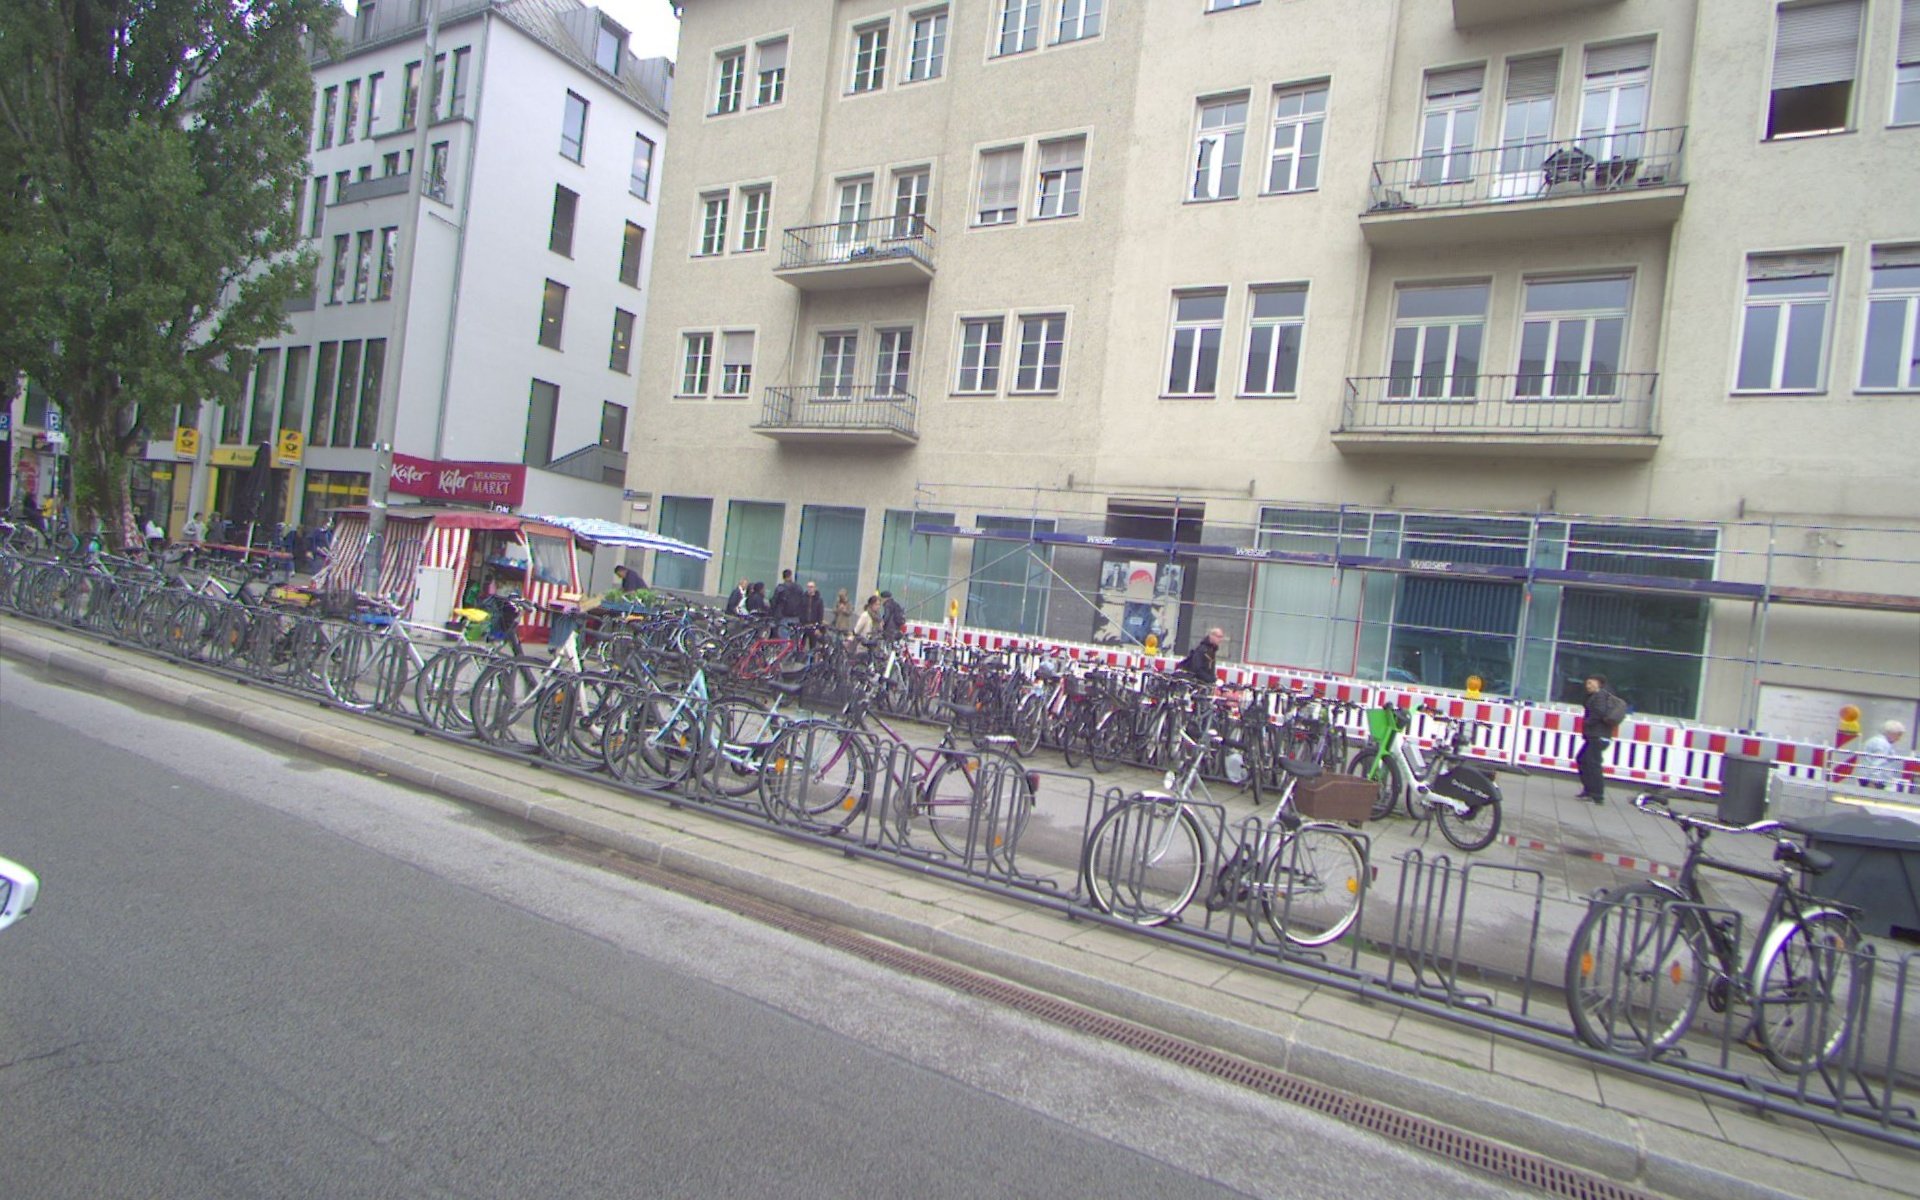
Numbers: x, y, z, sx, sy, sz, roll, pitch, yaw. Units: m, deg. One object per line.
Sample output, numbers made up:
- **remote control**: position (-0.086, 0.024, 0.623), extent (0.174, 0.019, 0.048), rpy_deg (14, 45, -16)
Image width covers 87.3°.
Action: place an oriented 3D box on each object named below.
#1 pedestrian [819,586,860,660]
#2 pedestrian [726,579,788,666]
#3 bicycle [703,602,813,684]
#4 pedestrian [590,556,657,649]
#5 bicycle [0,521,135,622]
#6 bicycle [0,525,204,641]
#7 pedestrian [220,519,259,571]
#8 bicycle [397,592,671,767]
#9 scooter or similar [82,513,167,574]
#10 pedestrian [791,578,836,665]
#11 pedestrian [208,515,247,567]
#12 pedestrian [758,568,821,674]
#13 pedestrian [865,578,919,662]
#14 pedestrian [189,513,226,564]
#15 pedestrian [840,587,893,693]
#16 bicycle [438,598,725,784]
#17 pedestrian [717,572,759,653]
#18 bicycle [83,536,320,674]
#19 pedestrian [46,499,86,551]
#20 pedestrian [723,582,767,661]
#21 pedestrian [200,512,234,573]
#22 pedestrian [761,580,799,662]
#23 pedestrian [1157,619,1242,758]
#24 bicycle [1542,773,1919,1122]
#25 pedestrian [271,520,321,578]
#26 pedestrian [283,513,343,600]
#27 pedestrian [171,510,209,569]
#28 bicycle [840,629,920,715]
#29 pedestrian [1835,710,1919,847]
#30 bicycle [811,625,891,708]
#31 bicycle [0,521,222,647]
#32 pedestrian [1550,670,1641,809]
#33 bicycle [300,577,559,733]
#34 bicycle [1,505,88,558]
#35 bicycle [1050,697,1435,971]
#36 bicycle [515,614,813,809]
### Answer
- **pedestrian**: position (-2.781, 0.534, 23.250), extent (0.598, 1.623, 0.465), rpy_deg (7, 1, 28)
- **pedestrian**: position (-3.835, 0.426, 19.014), extent (0.717, 1.547, 0.677), rpy_deg (7, 1, 32)
- **bicycle**: position (-2.994, 0.666, 15.034), extent (0.404, 1.117, 1.627), rpy_deg (7, 1, 39)
- **pedestrian**: position (-6.517, 0.053, 19.521), extent (0.717, 1.694, 0.794), rpy_deg (7, 1, 30)
- **bicycle**: position (-12.077, -0.405, 13.157), extent (1.779, 1.065, 0.544), rpy_deg (11, -2, -21)
- **bicycle**: position (-10.382, -0.185, 12.190), extent (1.779, 1.065, 0.365), rpy_deg (11, -2, -21)
- **pedestrian**: position (-22.045, -1.675, 30.802), extent (0.640, 1.493, 0.756), rpy_deg (7, -1, -21)
- **bicycle**: position (-3.276, 0.631, 7.871), extent (1.779, 1.070, 0.395), rpy_deg (11, -2, -21)
- **scooter or similar**: position (-19.000, -1.260, 22.902), extent (0.393, 1.222, 1.470), rpy_deg (7, 0, 13)
- **pedestrian**: position (-2.842, 0.409, 19.472), extent (0.546, 1.584, 0.650), rpy_deg (6, 1, -22)
- **pedestrian**: position (-24.186, -1.947, 33.211), extent (0.760, 1.605, 0.691), rpy_deg (7, 1, 31)
- **pedestrian**: position (-3.154, 0.392, 18.626), extent (0.716, 1.851, 0.718), rpy_deg (7, 1, 16)
- **pedestrian**: position (-1.432, 0.418, 21.185), extent (0.752, 1.671, 0.601), rpy_deg (7, 1, 30)
- **pedestrian**: position (-26.262, -2.135, 35.105), extent (0.786, 1.669, 0.691), rpy_deg (7, 1, 36)
- **pedestrian**: position (-1.481, 0.628, 15.996), extent (0.526, 1.602, 0.662), rpy_deg (7, 1, 7)
- **bicycle**: position (-2.772, 0.687, 7.529), extent (1.825, 1.070, 0.396), rpy_deg (11, -2, -14)
- **pedestrian**: position (-4.851, 0.274, 22.005), extent (0.496, 1.693, 0.541), rpy_deg (6, -1, 21)
- **bicycle**: position (-7.990, 0.073, 10.691), extent (1.779, 1.117, 0.544), rpy_deg (11, -2, -21)
- **pedestrian**: position (-31.562, -2.632, 35.518), extent (0.711, 1.746, 0.736), rpy_deg (6, 1, -22)
- **pedestrian**: position (-4.445, 0.453, 20.836), extent (0.458, 1.558, 0.560), rpy_deg (6, -1, 31)
- **pedestrian**: position (-22.035, -1.713, 29.837), extent (0.588, 1.723, 0.579), rpy_deg (7, 1, 39)
- **pedestrian**: position (-3.843, 0.452, 21.462), extent (0.463, 1.692, 0.527), rpy_deg (7, -1, 8)
- **pedestrian**: position (3.194, 1.165, 13.475), extent (0.693, 1.730, 0.738), rpy_deg (7, 1, -10)
- **bicycle**: position (3.281, 1.381, 4.094), extent (1.771, 1.150, 0.487), rpy_deg (8, -1, -21)
- **pedestrian**: position (-20.584, -1.581, 31.195), extent (1.006, 1.657, 0.800), rpy_deg (7, 1, 31)
- **pedestrian**: position (-14.382, -0.958, 22.364), extent (0.563, 1.816, 0.793), rpy_deg (6, -1, 37)
- **pedestrian**: position (-22.325, -1.760, 29.174), extent (0.625, 1.603, 0.641), rpy_deg (7, 1, 39)
- **bicycle**: position (-1.084, 0.976, 13.928), extent (0.403, 1.091, 1.452), rpy_deg (6, 0, 22)
- **pedestrian**: position (11.360, 2.183, 12.455), extent (0.580, 1.560, 0.565), rpy_deg (6, 0, 29)
- **bicycle**: position (-1.539, 0.936, 14.376), extent (0.403, 1.091, 1.452), rpy_deg (6, 0, 22)
- **bicycle**: position (-9.872, -0.164, 11.763), extent (1.779, 1.117, 0.544), rpy_deg (11, -2, -21)
- **pedestrian**: position (8.281, 1.798, 13.118), extent (0.821, 1.652, 0.563), rpy_deg (7, 1, 34)
- **bicycle**: position (-4.454, 0.482, 8.577), extent (1.779, 1.021, 0.384), rpy_deg (11, -2, -21)
- **bicycle**: position (-24.750, -1.850, 27.207), extent (0.696, 1.174, 1.625), rpy_deg (7, -1, 44)
- **bicycle**: position (1.432, 1.185, 5.097), extent (1.768, 1.150, 0.488), rpy_deg (8, -1, -15)
- **bicycle**: position (-2.053, 0.791, 7.132), extent (1.825, 1.070, 0.396), rpy_deg (11, -2, -14)
